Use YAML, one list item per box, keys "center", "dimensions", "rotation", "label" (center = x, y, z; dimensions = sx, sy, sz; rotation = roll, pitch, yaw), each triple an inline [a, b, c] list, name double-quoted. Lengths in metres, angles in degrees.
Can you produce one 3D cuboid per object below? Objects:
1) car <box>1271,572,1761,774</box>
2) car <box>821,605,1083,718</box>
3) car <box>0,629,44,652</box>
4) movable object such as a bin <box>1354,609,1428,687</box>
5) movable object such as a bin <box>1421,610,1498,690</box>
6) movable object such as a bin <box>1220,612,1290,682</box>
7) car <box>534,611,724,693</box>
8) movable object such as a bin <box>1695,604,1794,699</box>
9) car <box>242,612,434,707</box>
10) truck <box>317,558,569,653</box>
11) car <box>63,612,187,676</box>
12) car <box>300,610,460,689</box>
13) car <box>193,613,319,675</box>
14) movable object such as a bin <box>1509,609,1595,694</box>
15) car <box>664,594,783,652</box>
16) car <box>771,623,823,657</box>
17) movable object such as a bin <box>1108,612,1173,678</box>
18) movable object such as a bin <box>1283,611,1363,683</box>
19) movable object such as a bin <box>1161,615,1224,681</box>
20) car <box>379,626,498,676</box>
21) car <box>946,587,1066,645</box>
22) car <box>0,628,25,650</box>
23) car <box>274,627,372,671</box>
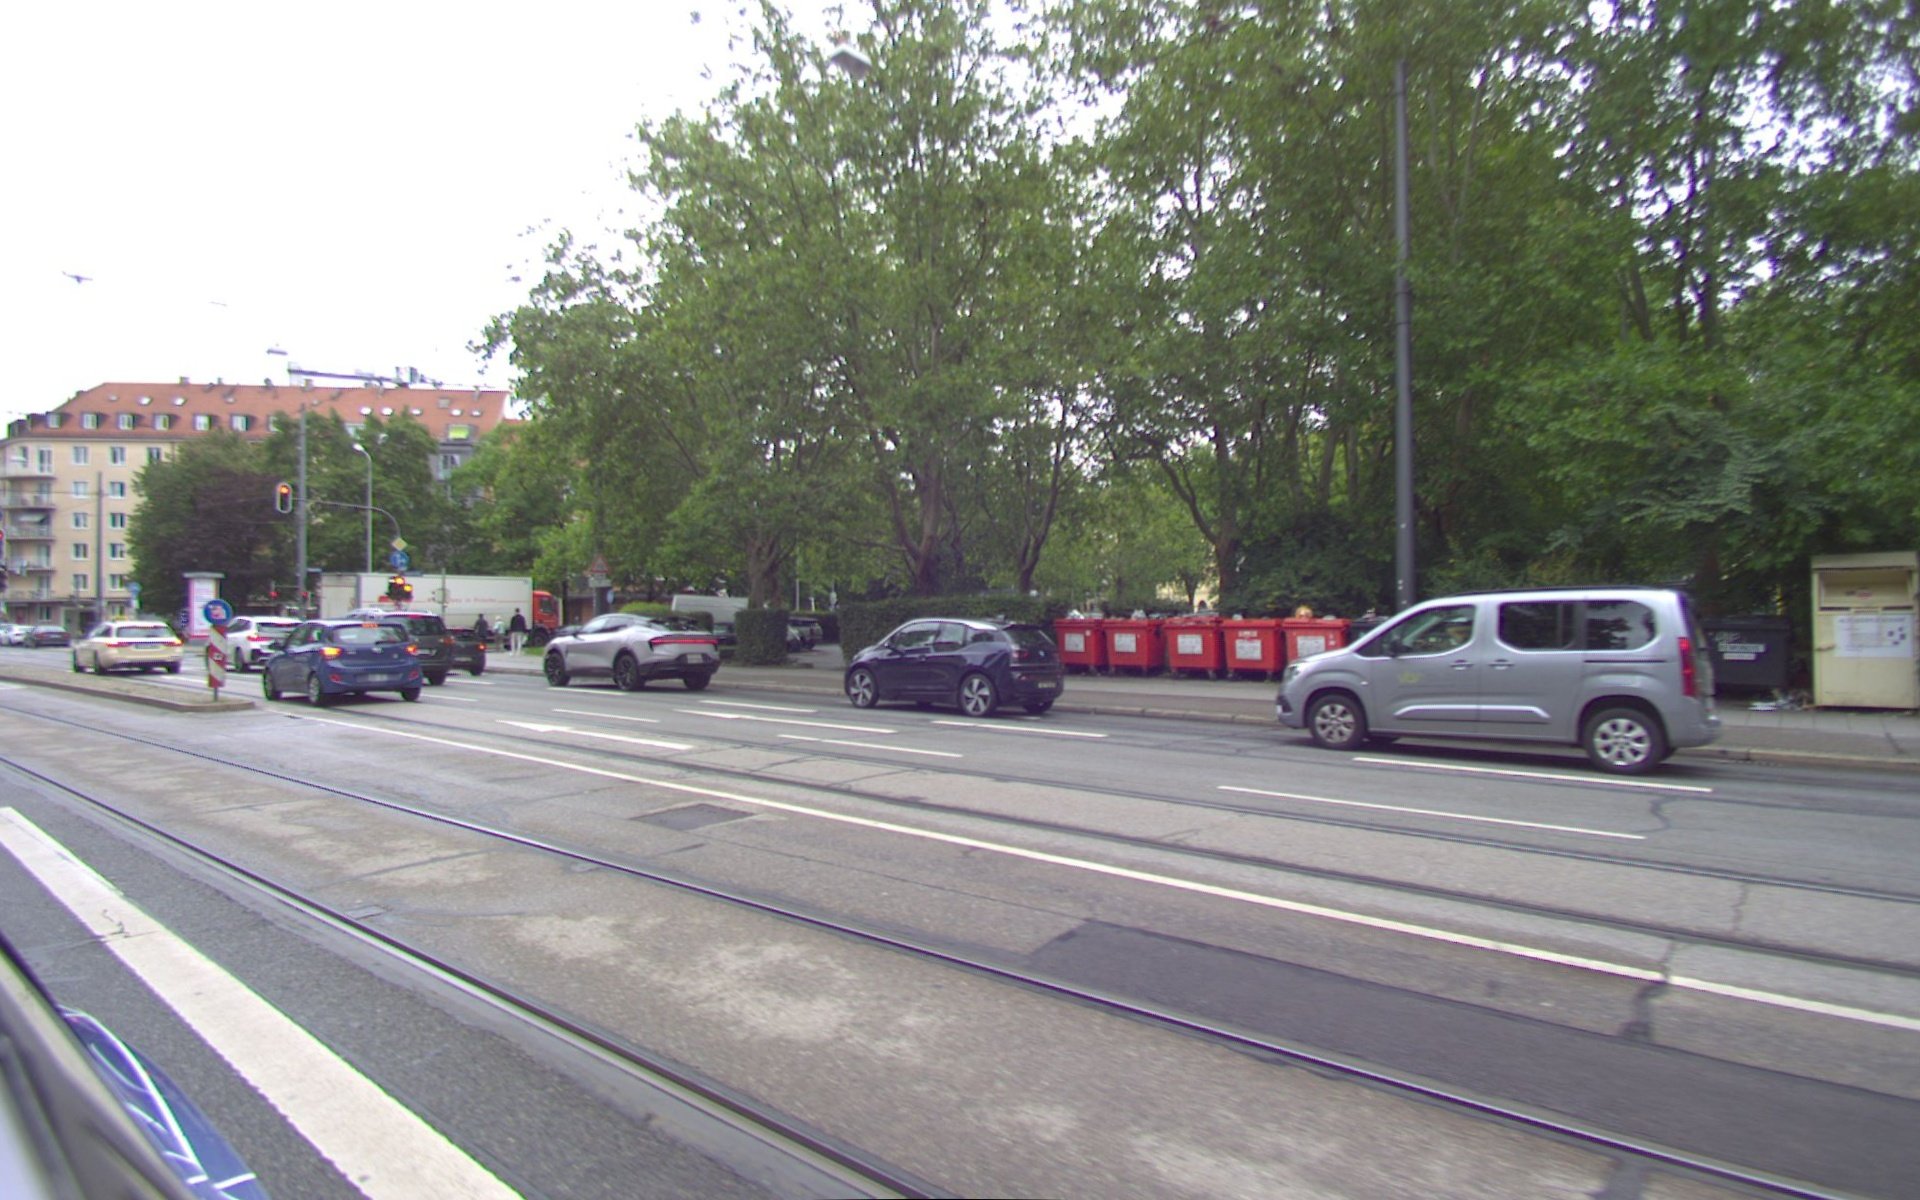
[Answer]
- center: [5.946, 0.705, 11.191]
  dimensions: [4.471, 1.793, 1.780]
  rotation: [-1, -2, 41]
  label: "car"
- center: [-0.235, 0.962, 17.068]
  dimensions: [4.352, 1.679, 1.780]
  rotation: [-1, -2, 41]
  label: "car"
- center: [-60.796, 2.591, 65.286]
  dimensions: [4.366, 1.418, 1.710]
  rotation: [-1, -2, 36]
  label: "car"
- center: [8.222, 0.896, 19.303]
  dimensions: [1.081, 1.363, 0.926]
  rotation: [-1, 3, 37]
  label: "movable object such as a bin"
- center: [9.106, 0.898, 18.451]
  dimensions: [1.081, 1.363, 0.926]
  rotation: [-1, 1, 37]
  label: "movable object such as a bin"
- center: [6.134, 0.964, 21.036]
  dimensions: [1.127, 1.363, 0.926]
  rotation: [-1, 2, 37]
  label: "movable object such as a bin"
- center: [-7.543, 1.106, 22.766]
  dimensions: [4.997, 1.655, 1.780]
  rotation: [-1, -2, 41]
  label: "car"
- center: [12.108, 0.772, 15.671]
  dimensions: [1.156, 1.363, 0.926]
  rotation: [-1, 1, 37]
  label: "movable object such as a bin"
- center: [-11.469, 1.007, 18.545]
  dimensions: [4.353, 1.534, 1.780]
  rotation: [-1, -2, 41]
  label: "car"
- center: [-24.335, 0.442, 48.773]
  dimensions: [2.732, 4.011, 11.618]
  rotation: [0, -2, 24]
  label: "truck"
- center: [-23.654, 1.201, 28.611]
  dimensions: [4.886, 1.651, 1.804]
  rotation: [-1, -2, 39]
  label: "car"
- center: [-13.846, 1.118, 24.027]
  dimensions: [4.888, 1.696, 1.803]
  rotation: [-1, -2, 41]
  label: "car"
- center: [-20.988, 1.268, 30.105]
  dimensions: [4.887, 1.696, 1.895]
  rotation: [-1, -2, 40]
  label: "car"
- center: [10.193, 0.862, 17.430]
  dimensions: [1.156, 1.363, 0.926]
  rotation: [-1, 1, 37]
  label: "movable object such as a bin"
- center: [-9.802, 0.984, 42.269]
  dimensions: [4.555, 2.029, 2.003]
  rotation: [5, -3, -8]
  label: "car"
- center: [-8.196, 2.035, 50.741]
  dimensions: [1.445, 1.593, 2.838]
  rotation: [-1, -2, -36]
  label: "car"
- center: [4.068, 1.001, 22.837]
  dimensions: [1.081, 1.363, 0.926]
  rotation: [-1, 4, 37]
  label: "movable object such as a bin"
- center: [7.206, 0.915, 20.088]
  dimensions: [1.275, 1.363, 0.925]
  rotation: [-1, 0, 37]
  label: "movable object such as a bin"
- center: [5.016, 1.023, 21.823]
  dimensions: [1.012, 1.363, 0.925]
  rotation: [-1, -1, 37]
  label: "movable object such as a bin"
- center: [-15.664, 1.480, 30.344]
  dimensions: [4.096, 1.391, 1.803]
  rotation: [-1, -2, 41]
  label: "car"
- center: [2.129, 0.823, 48.855]
  dimensions: [5.864, 2.554, 1.971]
  rotation: [-4, -3, 43]
  label: "car"
- center: [-64.979, 2.624, 68.461]
  dimensions: [4.366, 1.418, 1.710]
  rotation: [-1, -2, 36]
  label: "car"
- center: [-22.066, 1.671, 35.003]
  dimensions: [4.100, 1.422, 1.713]
  rotation: [-1, -4, 41]
  label: "car"
